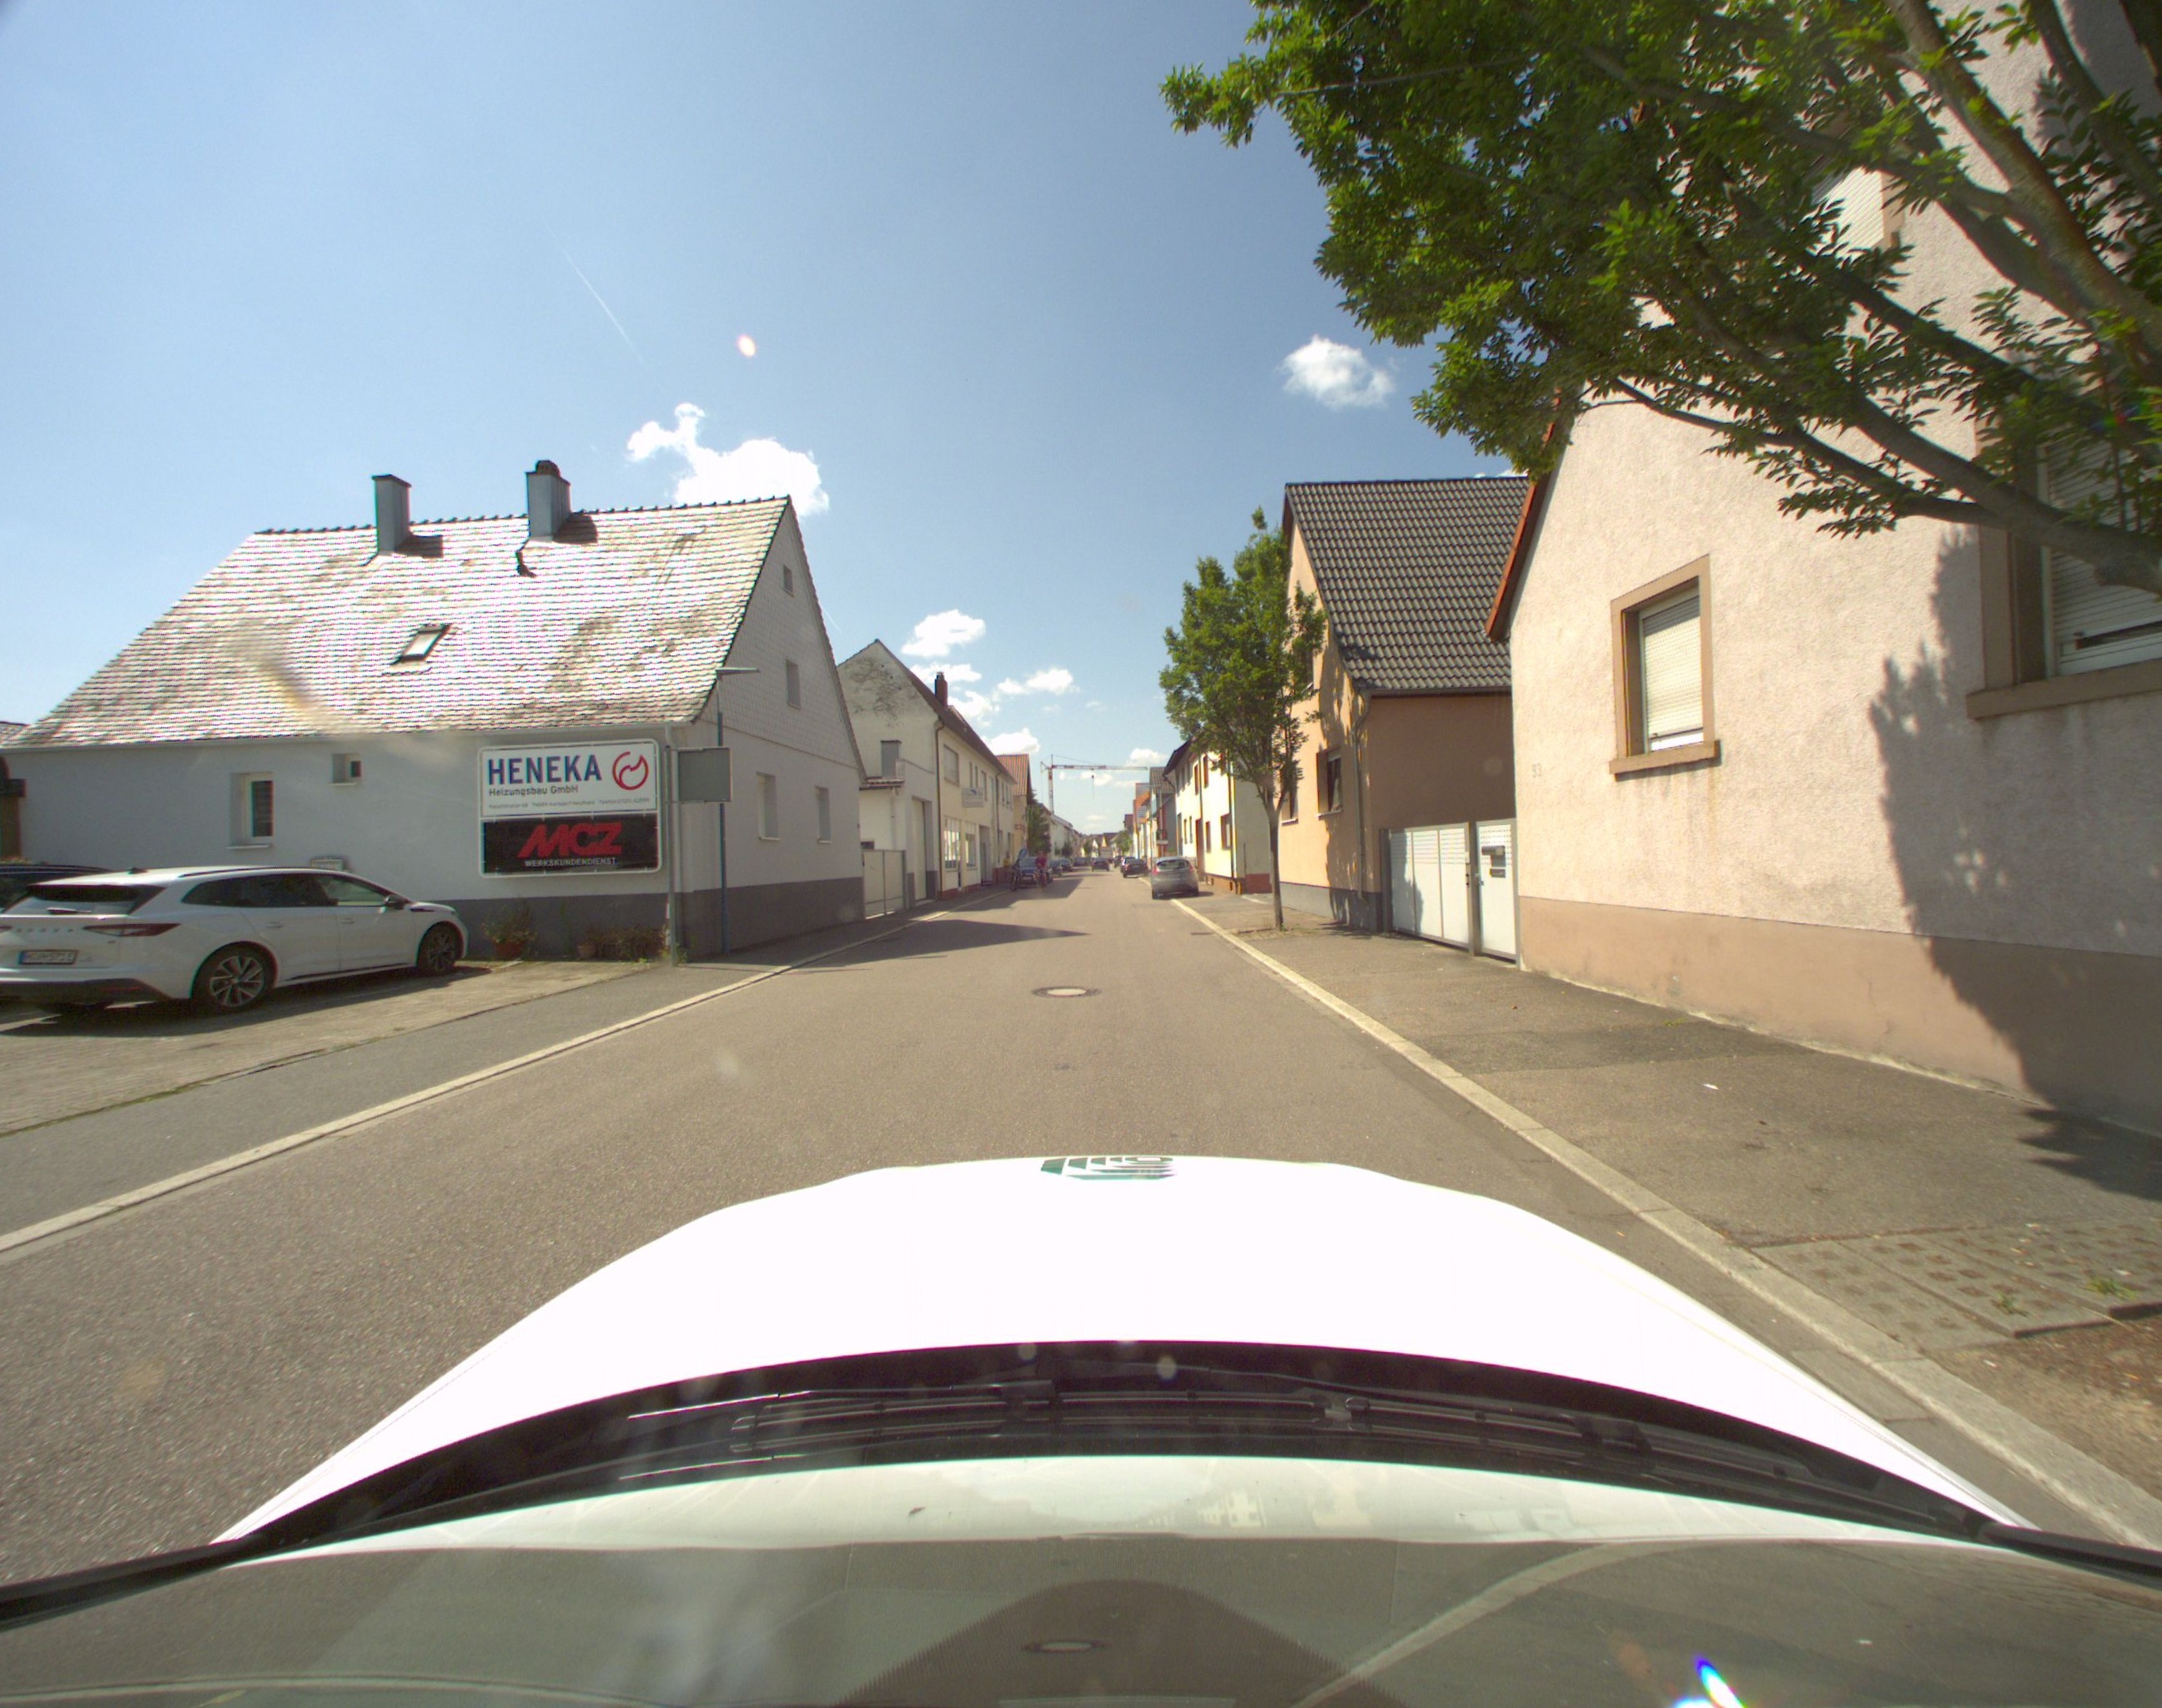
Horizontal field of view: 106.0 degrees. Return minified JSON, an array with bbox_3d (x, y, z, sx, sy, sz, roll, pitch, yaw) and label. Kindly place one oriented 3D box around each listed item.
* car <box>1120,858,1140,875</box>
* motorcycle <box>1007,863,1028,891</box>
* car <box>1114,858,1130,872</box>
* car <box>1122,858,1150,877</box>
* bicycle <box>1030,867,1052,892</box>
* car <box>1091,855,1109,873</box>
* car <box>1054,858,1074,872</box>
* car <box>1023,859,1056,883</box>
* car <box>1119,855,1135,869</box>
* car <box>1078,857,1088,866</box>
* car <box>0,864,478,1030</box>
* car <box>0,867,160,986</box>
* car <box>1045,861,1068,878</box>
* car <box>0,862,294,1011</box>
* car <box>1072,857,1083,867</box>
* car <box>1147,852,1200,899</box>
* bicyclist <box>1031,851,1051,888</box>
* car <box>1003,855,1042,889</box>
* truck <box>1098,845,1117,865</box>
[{"bbox_3d":[4.470,1.153,75.041,1.682,1.422,3.658,-2,0,2],"label":"car"},{"bbox_3d":[-3.100,1.130,40.039,0.805,1.312,2.106,-2,0,1],"label":"motorcycle"},{"bbox_3d":[5.402,1.460,107.419,1.723,1.717,4.274,-2,0,0],"label":"car"},{"bbox_3d":[3.908,0.940,58.239,1.808,1.276,4.149,-2,0,2],"label":"car"},{"bbox_3d":[-1.793,1.129,36.716,0.739,1.047,1.943,-1,0,5],"label":"bicycle"},{"bbox_3d":[1.940,0.994,84.643,1.777,1.753,4.000,-3,-1,1],"label":"car"},{"bbox_3d":[-1.879,1.207,90.087,1.761,1.460,4.440,-2,0,3],"label":"car"},{"bbox_3d":[-2.612,1.037,52.316,1.691,1.411,4.391,-2,0,2],"label":"car"},{"bbox_3d":[5.370,0.951,95.442,1.611,1.495,3.973,-5,0,1],"label":"car"},{"bbox_3d":[0.449,1.364,146.371,1.647,1.609,4.061,-2,0,1],"label":"car"},{"bbox_3d":[-10.105,0.935,10.187,1.768,1.570,4.478,-1,0,0],"label":"car"},{"bbox_3d":[-15.361,0.997,10.527,1.768,1.570,4.479,-1,0,1],"label":"car"},{"bbox_3d":[-2.050,1.296,69.144,1.755,1.374,4.067,-1,0,1],"label":"car"},{"bbox_3d":[-12.744,0.932,9.984,1.768,1.619,4.479,-1,0,1],"label":"car"},{"bbox_3d":[-0.514,1.394,139.531,1.752,1.525,4.290,-2,0,1],"label":"car"},{"bbox_3d":[3.371,0.754,29.976,1.713,1.481,3.755,-5,-1,5],"label":"car"},{"bbox_3d":[-1.809,0.700,36.670,0.743,1.637,0.958,-1,0,5],"label":"bicyclist"},{"bbox_3d":[-3.147,0.945,44.676,1.711,1.639,4.148,-4,0,0],"label":"car"},{"bbox_3d":[5.585,0.331,173.307,3.368,3.865,13.924,-3,-1,0],"label":"truck"}]
